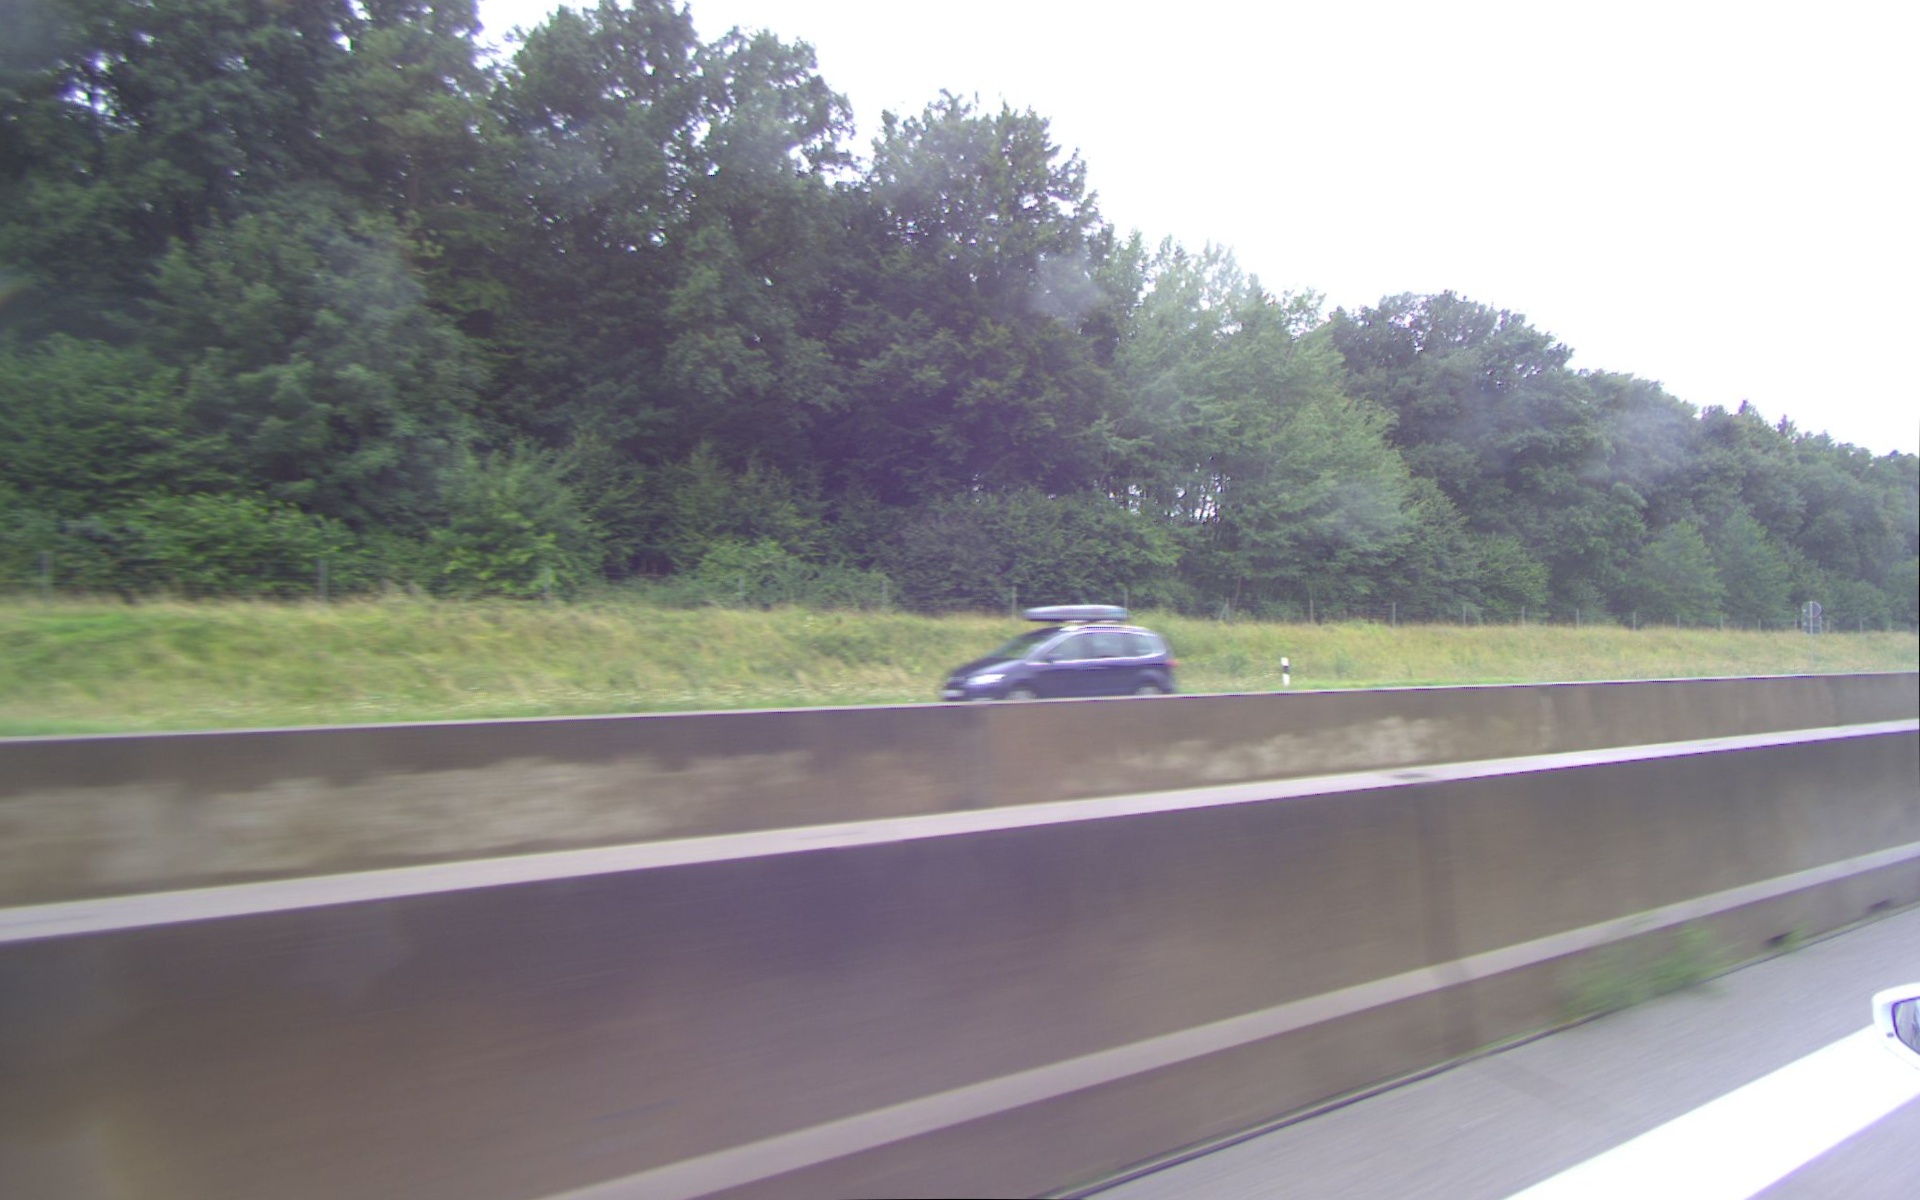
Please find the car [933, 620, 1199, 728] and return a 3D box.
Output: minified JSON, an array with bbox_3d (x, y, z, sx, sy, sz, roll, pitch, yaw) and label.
[{"bbox_3d":[2.072,1.337,19.128,4.797,1.826,2.050,2,-2,-31],"label":"car"}]
